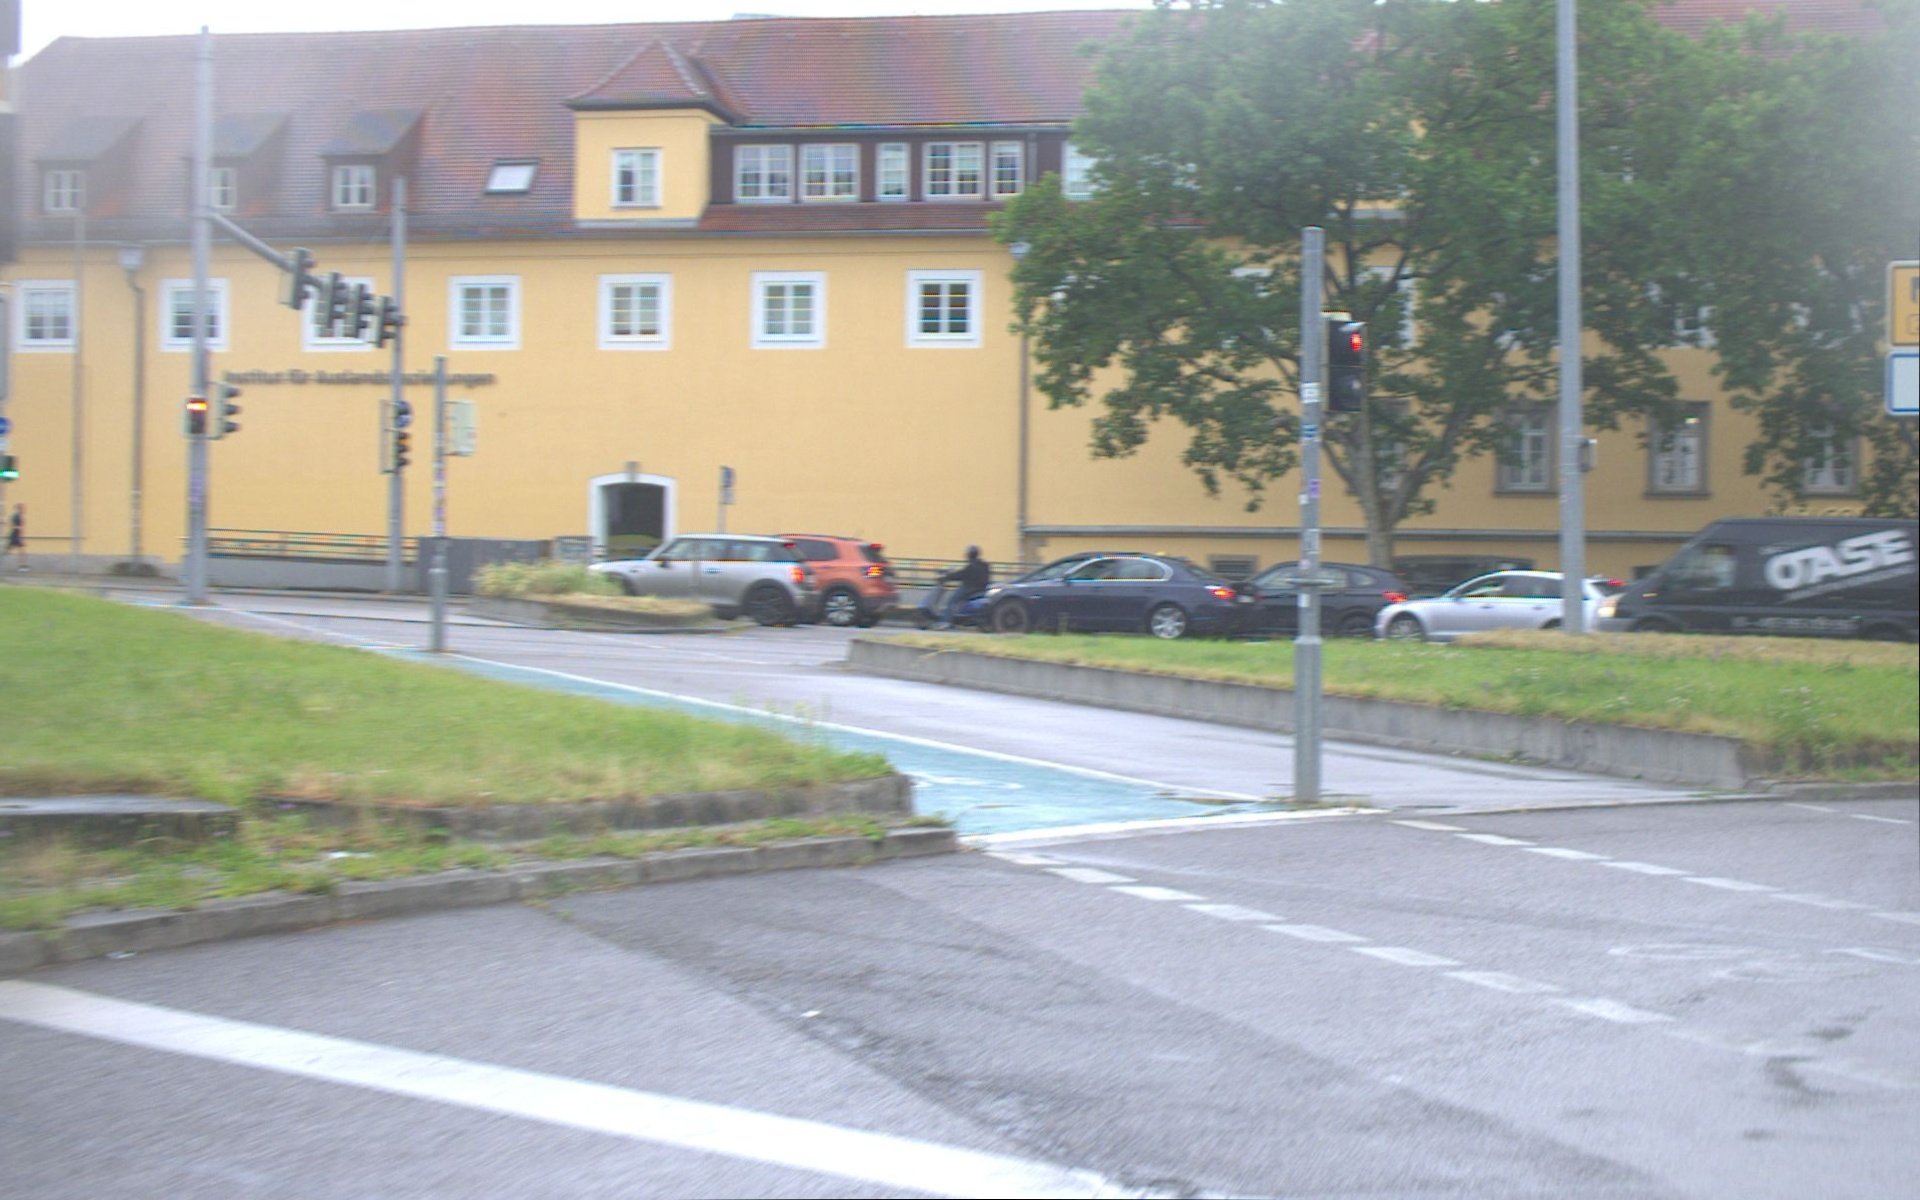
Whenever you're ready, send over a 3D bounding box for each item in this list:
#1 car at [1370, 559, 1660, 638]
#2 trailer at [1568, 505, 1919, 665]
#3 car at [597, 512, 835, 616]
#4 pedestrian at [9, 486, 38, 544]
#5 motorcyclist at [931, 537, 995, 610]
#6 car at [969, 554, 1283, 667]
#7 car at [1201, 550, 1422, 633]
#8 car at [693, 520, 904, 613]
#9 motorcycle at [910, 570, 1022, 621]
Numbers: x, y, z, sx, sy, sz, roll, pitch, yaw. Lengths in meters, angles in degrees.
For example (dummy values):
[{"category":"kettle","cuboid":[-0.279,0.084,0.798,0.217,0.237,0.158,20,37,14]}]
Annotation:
[{"category":"car","cuboid":[8.881,-0.031,55.206,4.374,1.136,1.538,2,-1,38]},{"category":"trailer","cuboid":[11.834,-0.190,50.668,5.463,2.250,1.998,-1,-2,16]},{"category":"car","cuboid":[-3.811,-0.557,54.000,3.402,1.477,1.834,2,-1,7]},{"category":"pedestrian","cuboid":[-22.499,-2.051,82.590,0.455,1.363,0.443,2,-1,19]},{"category":"motorcyclist","cuboid":[0.060,-0.466,61.967,1.075,1.268,0.692,2,-1,2]},{"category":"car","cuboid":[2.774,0.176,57.593,4.808,1.703,1.997,2,-1,24]},{"category":"car","cuboid":[6.196,-0.151,60.554,3.598,1.332,1.576,2,-1,17]},{"category":"car","cuboid":[-2.772,-0.578,59.510,3.400,1.467,1.652,2,-1,5]},{"category":"motorcycle","cuboid":[0.118,-0.072,62.015,1.964,0.850,0.546,2,-1,3]}]
